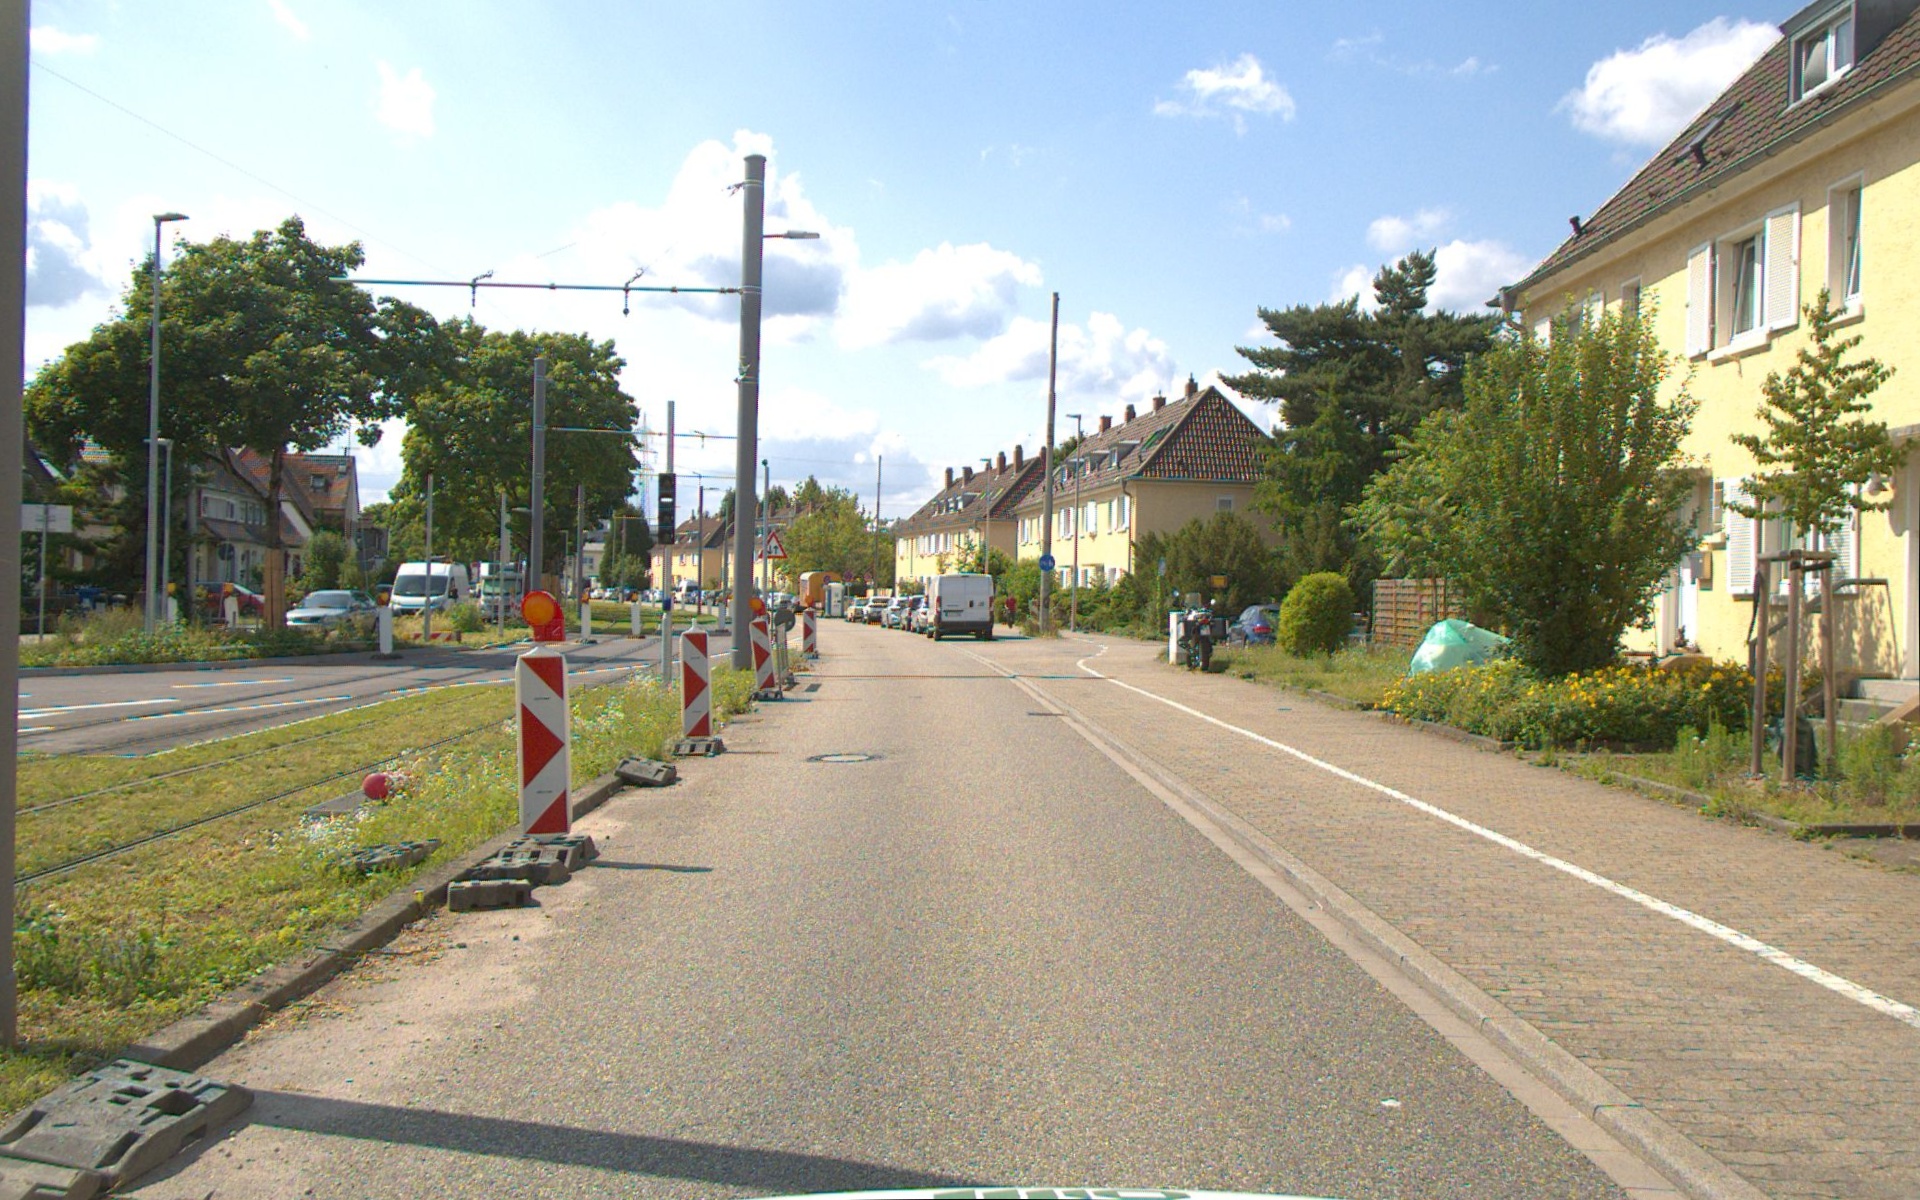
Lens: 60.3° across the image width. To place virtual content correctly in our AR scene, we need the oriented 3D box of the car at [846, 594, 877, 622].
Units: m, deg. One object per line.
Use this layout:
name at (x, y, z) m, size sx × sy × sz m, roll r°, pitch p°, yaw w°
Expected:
car at (-5.780, 0.473, 96.757) m, size 1.538 × 1.578 × 3.473 m, roll 1°, pitch 0°, yaw -7°

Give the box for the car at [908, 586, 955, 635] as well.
car at (-1.199, 0.393, 67.703) m, size 1.538 × 1.930 × 3.783 m, roll 1°, pitch 0°, yaw -7°

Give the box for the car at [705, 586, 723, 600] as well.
car at (-24.456, -0.676, 164.610) m, size 1.239 × 1.374 × 2.650 m, roll 1°, pitch 0°, yaw -20°

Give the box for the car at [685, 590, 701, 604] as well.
car at (-27.877, -0.322, 172.681) m, size 1.149 × 1.451 × 2.648 m, roll 1°, pitch 0°, yaw -21°

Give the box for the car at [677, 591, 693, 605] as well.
car at (-29.437, -0.229, 176.789) m, size 1.149 × 1.451 × 2.648 m, roll 1°, pitch 0°, yaw -21°

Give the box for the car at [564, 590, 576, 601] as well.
car at (-54.664, -0.626, 231.822) m, size 1.240 × 1.451 × 2.648 m, roll 1°, pitch 0°, yaw -21°

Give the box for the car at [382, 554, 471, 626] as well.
car at (-18.813, -0.346, 58.547) m, size 2.363 × 2.379 × 4.867 m, roll 1°, pitch 0°, yaw -11°

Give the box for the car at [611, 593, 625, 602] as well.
car at (-42.787, -0.330, 206.903) m, size 1.241 × 1.162 × 2.645 m, roll 1°, pitch 0°, yaw -24°

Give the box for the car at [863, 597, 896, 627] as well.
car at (-4.399, 0.666, 90.259) m, size 1.538 × 1.578 × 3.473 m, roll 1°, pitch 0°, yaw -7°

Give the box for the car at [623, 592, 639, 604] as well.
car at (-40.050, -0.235, 201.365) m, size 1.243 × 1.451 × 2.641 m, roll 1°, pitch 0°, yaw -28°

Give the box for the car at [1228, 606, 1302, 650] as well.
car at (7.719, 0.686, 42.016) m, size 1.285 × 1.047 × 2.768 m, roll 1°, pitch 0°, yaw -2°

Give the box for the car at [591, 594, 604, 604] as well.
car at (-47.360, -0.162, 216.036) m, size 1.239 × 1.207 × 2.650 m, roll 1°, pitch 0°, yaw -20°

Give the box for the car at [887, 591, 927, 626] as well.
car at (-2.536, 0.384, 78.529) m, size 1.538 × 1.578 × 3.783 m, roll 1°, pitch 0°, yaw -7°

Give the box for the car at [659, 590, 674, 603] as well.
car at (-33.285, -0.431, 187.492) m, size 1.240 × 1.451 × 2.648 m, roll 1°, pitch 0°, yaw -22°

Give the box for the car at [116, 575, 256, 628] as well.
car at (-27.894, 0.049, 59.727) m, size 4.027 × 1.807 × 2.099 m, roll 1°, pitch 0°, yaw -4°

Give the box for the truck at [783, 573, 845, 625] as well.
truck at (-10.712, -0.077, 120.234) m, size 2.598 × 3.555 × 9.394 m, roll 1°, pitch 0°, yaw -17°

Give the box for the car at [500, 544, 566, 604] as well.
car at (-18.178, -1.113, 70.676) m, size 2.363 × 2.411 × 4.867 m, roll 1°, pitch 1°, yaw -11°

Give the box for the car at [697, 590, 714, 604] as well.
car at (-25.917, -0.350, 168.458) m, size 1.239 × 1.374 × 2.650 m, roll 1°, pitch 0°, yaw -20°

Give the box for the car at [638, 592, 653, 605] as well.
car at (-36.944, -0.177, 194.307) m, size 1.241 × 1.451 × 2.645 m, roll 1°, pitch 0°, yaw -24°

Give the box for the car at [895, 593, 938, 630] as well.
car at (-1.930, 0.505, 73.114) m, size 1.538 × 1.578 × 3.783 m, roll 1°, pitch 0°, yaw -7°

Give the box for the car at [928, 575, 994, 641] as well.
car at (-0.015, 0.281, 58.153) m, size 2.024 × 2.186 × 4.875 m, roll 1°, pitch 0°, yaw -3°

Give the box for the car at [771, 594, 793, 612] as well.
car at (-14.261, 0.244, 132.491) m, size 1.237 × 1.451 × 2.653 m, roll 1°, pitch 0°, yaw -17°

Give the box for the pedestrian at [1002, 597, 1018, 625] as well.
pedestrian at (2.289, 0.515, 75.540) m, size 0.620 × 1.277 × 0.725 m, roll 1°, pitch 0°, yaw -9°

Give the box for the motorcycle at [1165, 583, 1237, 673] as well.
motorcycle at (4.666, 0.529, 32.180) m, size 1.045 × 1.664 × 2.083 m, roll 1°, pitch 0°, yaw -2°

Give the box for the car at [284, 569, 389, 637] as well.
car at (-17.564, 0.081, 46.768) m, size 2.056 × 1.807 × 4.110 m, roll 1°, pitch 0°, yaw -11°

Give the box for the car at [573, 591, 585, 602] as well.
car at (-51.792, -0.451, 225.042) m, size 1.240 × 1.451 × 2.648 m, roll 1°, pitch 0°, yaw -21°

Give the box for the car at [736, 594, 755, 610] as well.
car at (-19.855, 0.143, 153.071) m, size 1.238 × 1.451 × 2.651 m, roll 1°, pitch 0°, yaw -18°

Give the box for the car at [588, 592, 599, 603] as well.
car at (-48.837, -0.343, 220.403) m, size 1.239 × 1.451 × 2.650 m, roll 1°, pitch 0°, yaw -19°
